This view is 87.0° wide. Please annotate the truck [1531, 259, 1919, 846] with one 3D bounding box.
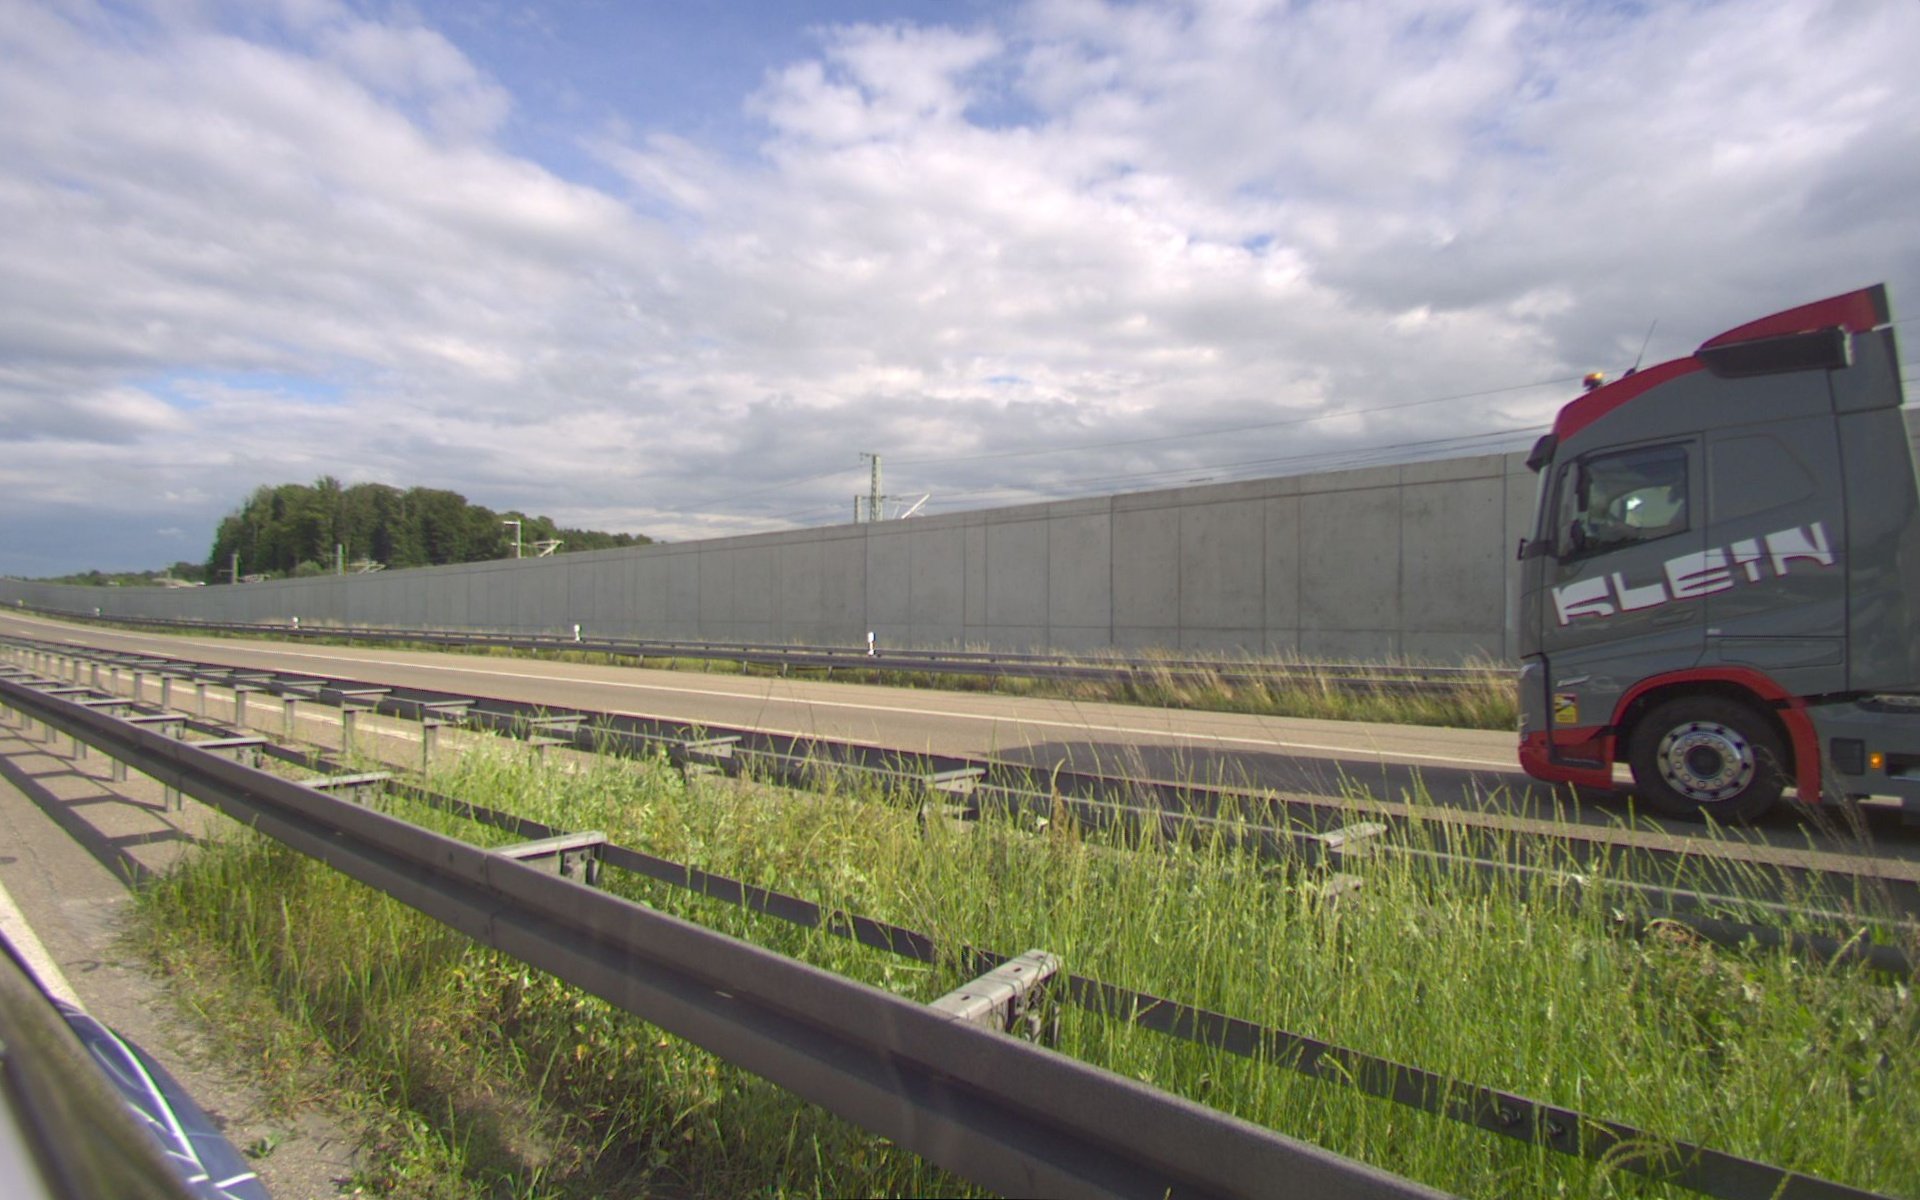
[{"bbox_3d":[7.694,-0.306,7.408,5.719,3.953,2.555,-1,-2,41],"label":"truck"}]
